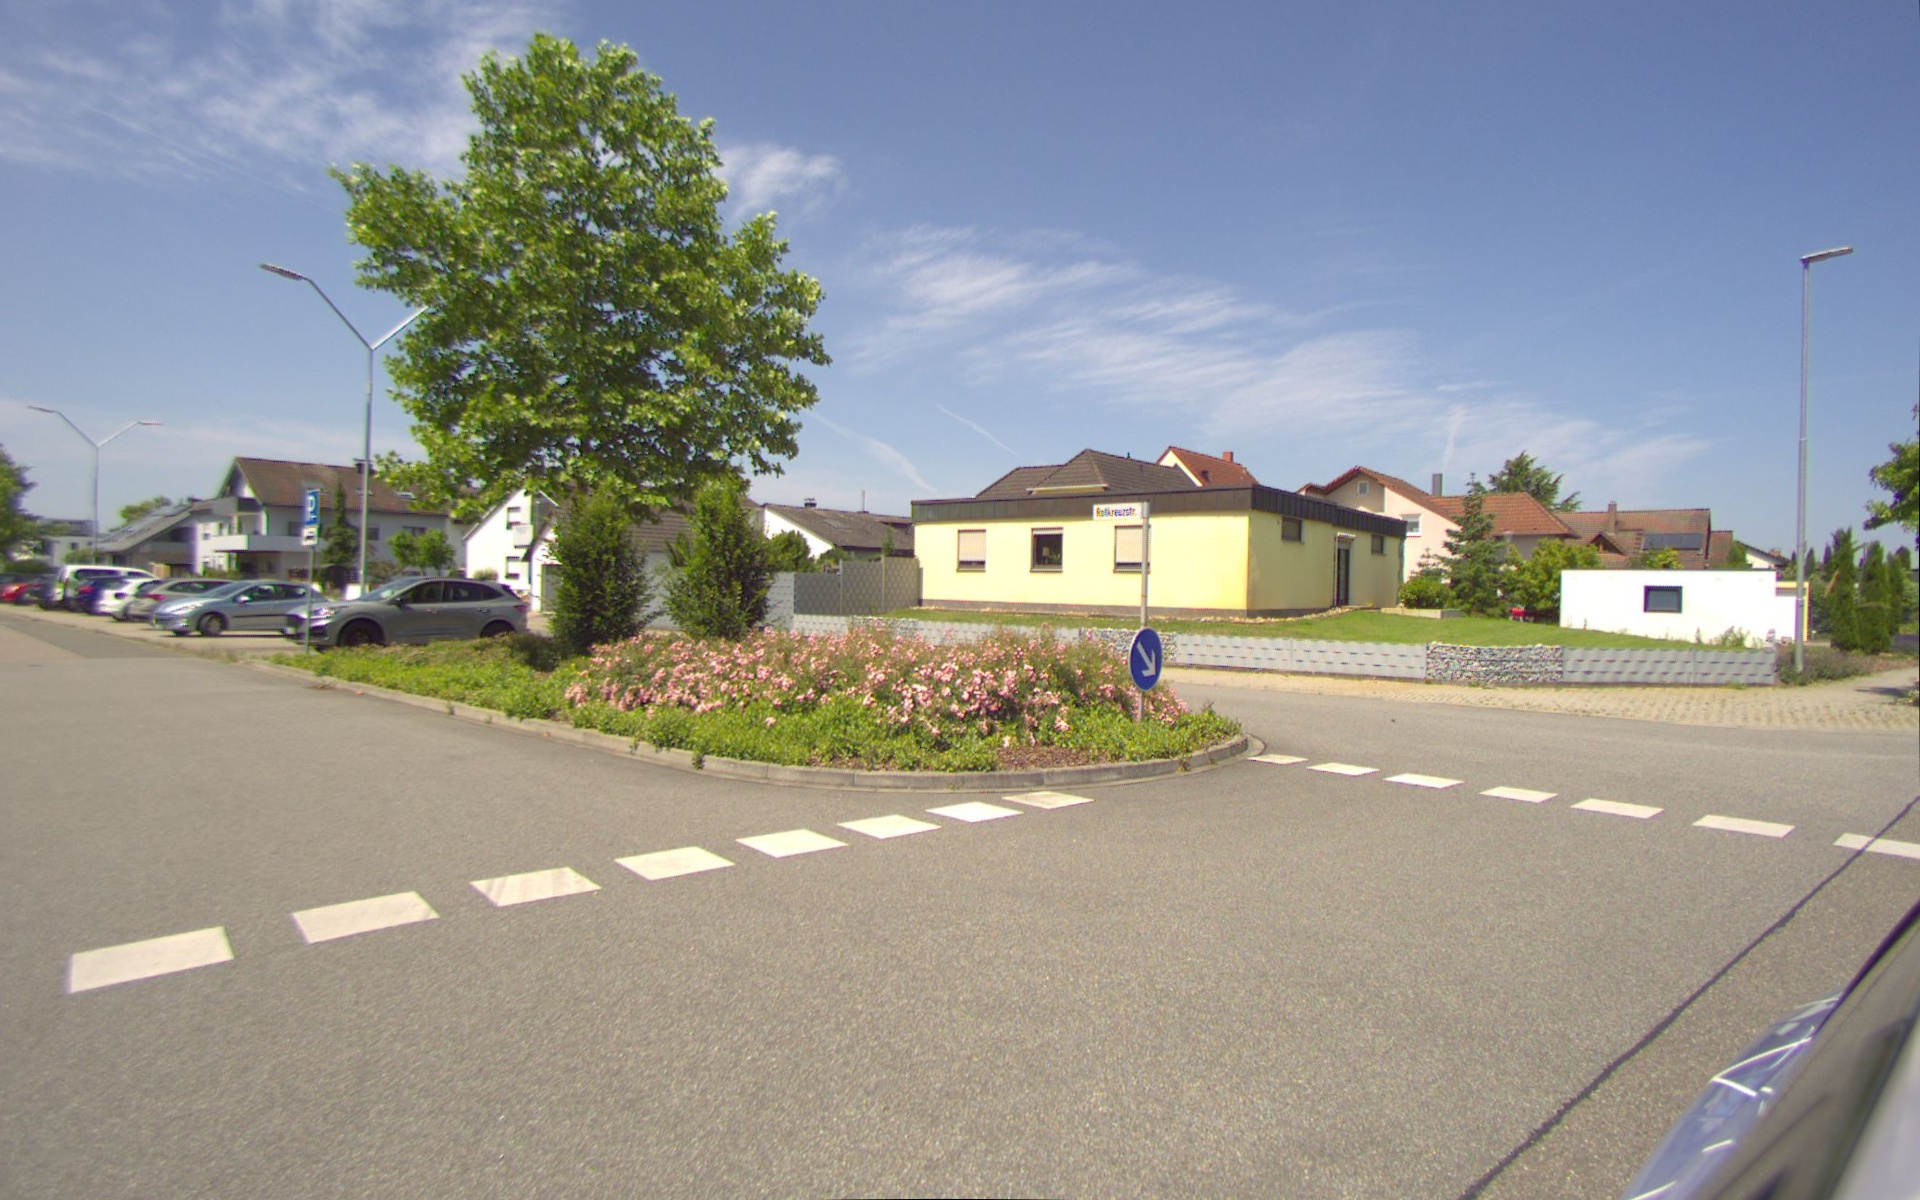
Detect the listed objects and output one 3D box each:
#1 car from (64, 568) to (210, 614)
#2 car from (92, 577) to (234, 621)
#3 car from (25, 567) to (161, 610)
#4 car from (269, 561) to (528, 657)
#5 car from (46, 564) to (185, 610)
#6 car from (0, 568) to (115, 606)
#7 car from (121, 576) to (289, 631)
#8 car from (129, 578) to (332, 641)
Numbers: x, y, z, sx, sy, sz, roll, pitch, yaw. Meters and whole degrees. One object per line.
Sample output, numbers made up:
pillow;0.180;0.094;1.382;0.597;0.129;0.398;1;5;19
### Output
car;-30.660;-0.342;37.783;1.751;1.616;3.944;1;1;38
car;-25.977;-0.021;33.065;1.508;1.374;3.453;-1;-1;40
car;-35.110;-0.460;41.057;1.751;1.657;3.944;1;1;38
car;-11.413;0.134;20.857;1.638;1.763;4.390;1;1;39
car;-33.094;-0.484;39.755;1.751;1.719;3.944;-1;0;38
car;-41.675;-0.598;46.641;1.751;1.657;3.944;1;1;38
car;-21.701;0.076;29.192;1.639;1.450;3.637;1;1;40
car;-18.777;0.198;26.224;1.633;1.488;3.960;1;1;31
